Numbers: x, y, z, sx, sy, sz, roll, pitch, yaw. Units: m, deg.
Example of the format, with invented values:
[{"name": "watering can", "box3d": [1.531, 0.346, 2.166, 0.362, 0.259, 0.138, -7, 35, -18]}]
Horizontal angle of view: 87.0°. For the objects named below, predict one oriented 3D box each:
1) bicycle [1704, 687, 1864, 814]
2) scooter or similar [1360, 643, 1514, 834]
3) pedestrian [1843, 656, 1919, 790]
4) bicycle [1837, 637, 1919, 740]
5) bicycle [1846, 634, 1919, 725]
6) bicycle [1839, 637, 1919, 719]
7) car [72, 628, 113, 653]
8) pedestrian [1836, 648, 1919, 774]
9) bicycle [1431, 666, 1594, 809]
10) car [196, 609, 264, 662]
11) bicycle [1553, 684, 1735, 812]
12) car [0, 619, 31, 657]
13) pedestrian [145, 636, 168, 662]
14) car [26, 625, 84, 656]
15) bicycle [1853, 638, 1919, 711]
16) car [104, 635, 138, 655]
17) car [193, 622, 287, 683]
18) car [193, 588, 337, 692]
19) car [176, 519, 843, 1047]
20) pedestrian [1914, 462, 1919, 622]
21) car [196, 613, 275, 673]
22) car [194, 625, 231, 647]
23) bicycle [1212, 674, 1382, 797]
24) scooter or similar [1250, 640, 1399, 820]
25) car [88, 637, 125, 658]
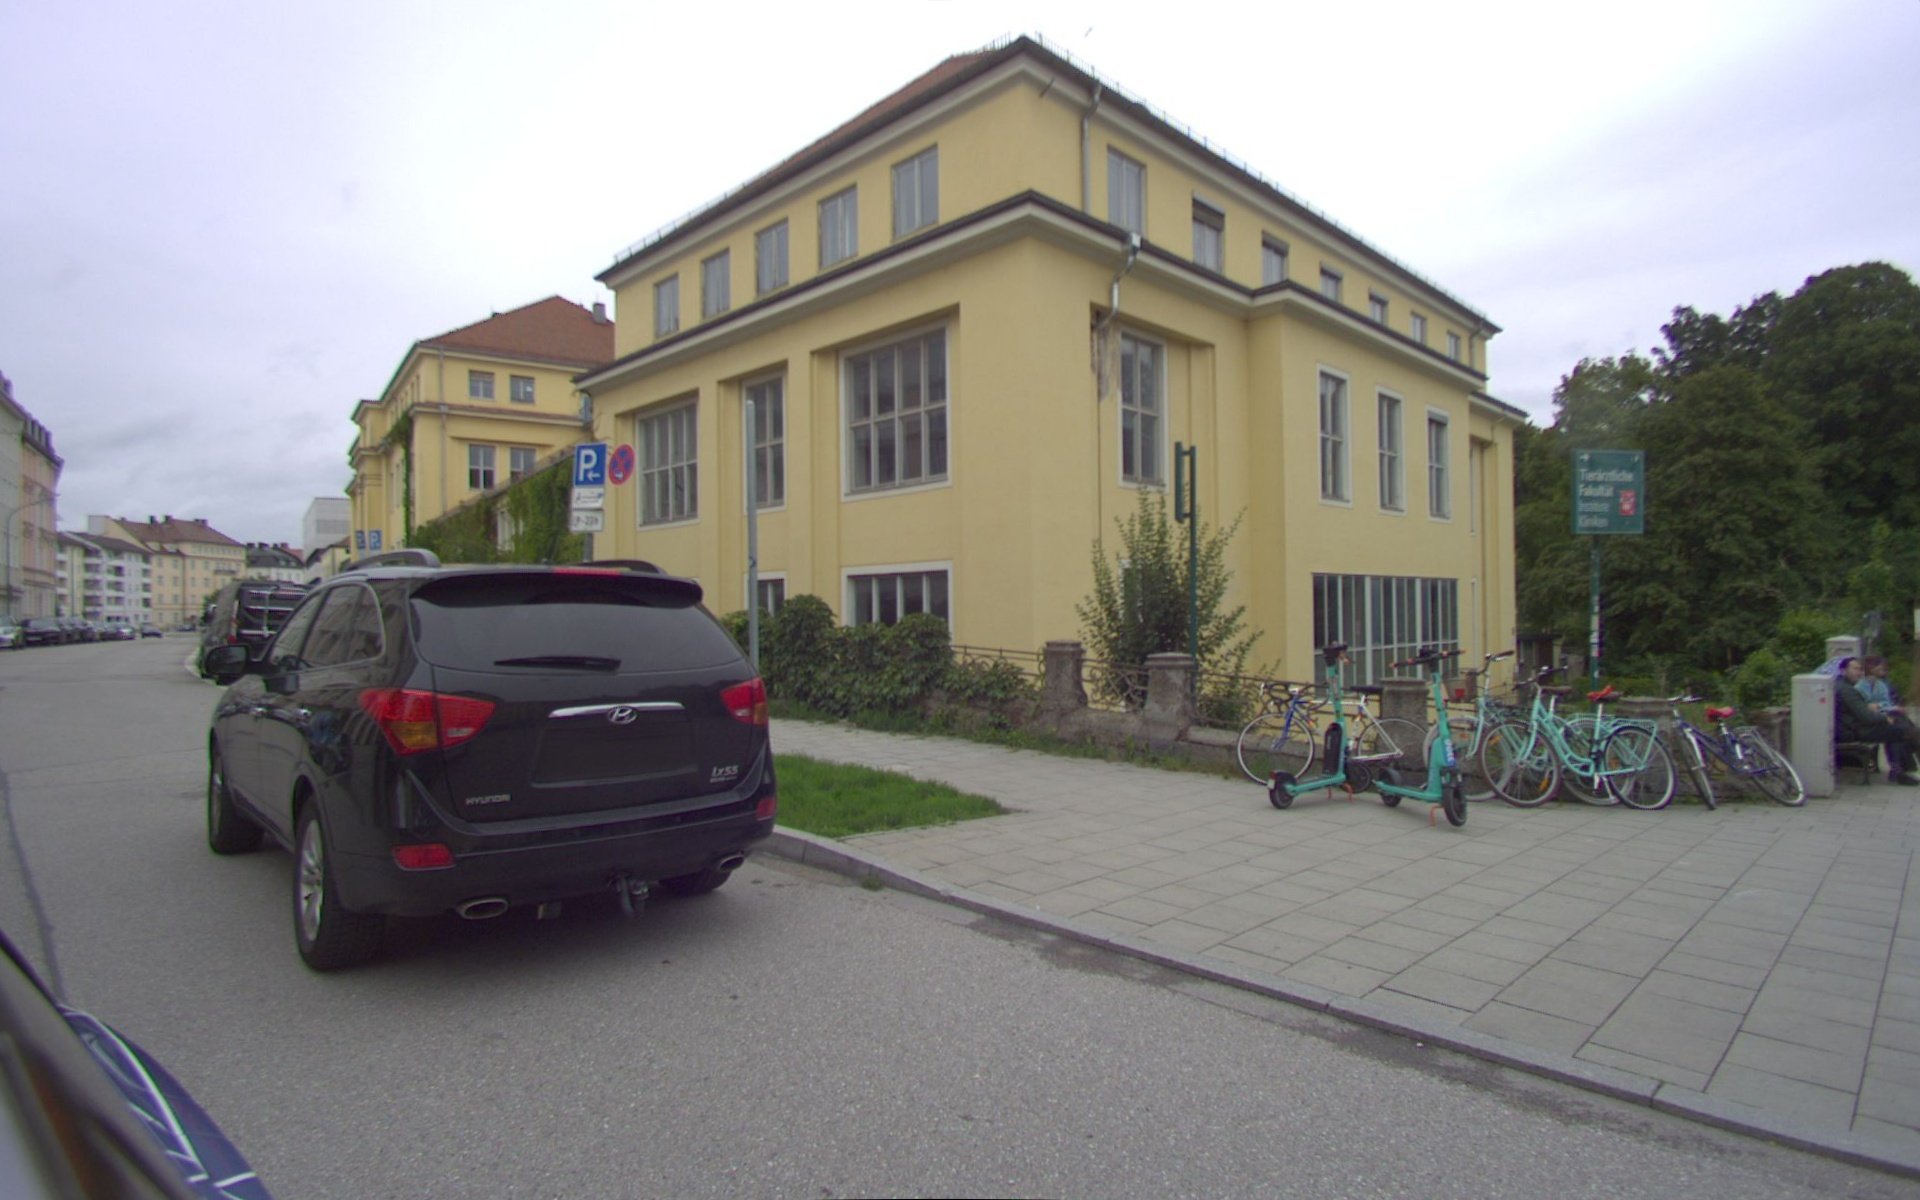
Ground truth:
[{"name": "bicycle", "box3d": [7.006, 1.253, 8.611, 1.254, 0.985, 0.415, 1, -2, -18]}, {"name": "scooter or similar", "box3d": [3.397, 0.943, 7.280, 0.432, 1.221, 1.056, 0, 0, -13]}, {"name": "pedestrian", "box3d": [9.769, 1.223, 10.178, 1.265, 1.278, 0.839, -2, -2, 39]}, {"name": "bicycle", "box3d": [17.000, 1.532, 18.316, 1.048, 1.674, 3.120, -2, -2, 29]}, {"name": "bicycle", "box3d": [18.913, 1.538, 20.302, 1.048, 1.674, 2.974, -2, -2, 29]}, {"name": "bicycle", "box3d": [20.844, 1.701, 22.710, 1.048, 1.674, 3.120, -2, -2, 30]}, {"name": "car", "box3d": [-60.780, 2.844, 70.960, 1.741, 1.552, 4.009, -3, 0, -36]}, {"name": "pedestrian", "box3d": [10.715, 1.237, 11.532, 1.031, 1.346, 0.943, -2, -2, 39]}, {"name": "bicycle", "box3d": [4.475, 1.105, 8.218, 1.174, 1.119, 0.301, 0, -1, -3]}, {"name": "car", "box3d": [-27.886, 1.370, 38.651, 1.868, 1.812, 4.892, 6, -5, -36]}, {"name": "bicycle", "box3d": [5.618, 1.200, 8.335, 1.256, 0.985, 0.415, 0, -2, -8]}, {"name": "car", "box3d": [-41.174, 1.663, 43.299, 1.593, 1.528, 3.388, -5, 1, -35]}, {"name": "pedestrian", "box3d": [-92.721, 5.625, 116.811, 1.899, 2.973, 2.029, 1, -3, -36]}, {"name": "car", "box3d": [-46.338, 2.065, 51.910, 1.849, 1.458, 4.710, -1, -1, -37]}, {"name": "bicycle", "box3d": [23.549, 1.830, 25.380, 1.048, 1.674, 3.120, -2, -2, 30]}, {"name": "car", "box3d": [-74.178, 3.966, 89.537, 1.970, 1.584, 4.501, -3, 0, -36]}, {"name": "car", "box3d": [-18.507, 1.345, 25.947, 1.685, 1.376, 4.009, 6, -5, -38]}, {"name": "car", "box3d": [-14.995, 0.877, 21.738, 1.902, 1.994, 4.628, 4, -5, -41]}, {"name": "car", "box3d": [-2.853, 0.672, 5.692, 1.970, 1.732, 4.618, 1, -2, -44]}, {"name": "pedestrian", "box3d": [2.189, 0.546, 1.742, 0.665, 1.710, 0.537, -1, -3, 34]}, {"name": "car", "box3d": [-21.564, 1.272, 30.049, 1.680, 1.619, 4.500, 4, -4, -37]}, {"name": "car", "box3d": [-87.525, 4.201, 118.406, 2.805, 2.571, 6.901, 2, -3, -42]}, {"name": "bicycle", "box3d": [2.880, 1.131, 8.670, 1.324, 0.900, 0.430, 1, 0, 27]}, {"name": "scooter or similar", "box3d": [2.799, 0.949, 7.734, 1.243, 1.253, 0.395, 0, 0, -33]}, {"name": "car", "box3d": [-64.683, 3.593, 76.778, 1.698, 1.477, 4.203, -3, 0, -35]}]
